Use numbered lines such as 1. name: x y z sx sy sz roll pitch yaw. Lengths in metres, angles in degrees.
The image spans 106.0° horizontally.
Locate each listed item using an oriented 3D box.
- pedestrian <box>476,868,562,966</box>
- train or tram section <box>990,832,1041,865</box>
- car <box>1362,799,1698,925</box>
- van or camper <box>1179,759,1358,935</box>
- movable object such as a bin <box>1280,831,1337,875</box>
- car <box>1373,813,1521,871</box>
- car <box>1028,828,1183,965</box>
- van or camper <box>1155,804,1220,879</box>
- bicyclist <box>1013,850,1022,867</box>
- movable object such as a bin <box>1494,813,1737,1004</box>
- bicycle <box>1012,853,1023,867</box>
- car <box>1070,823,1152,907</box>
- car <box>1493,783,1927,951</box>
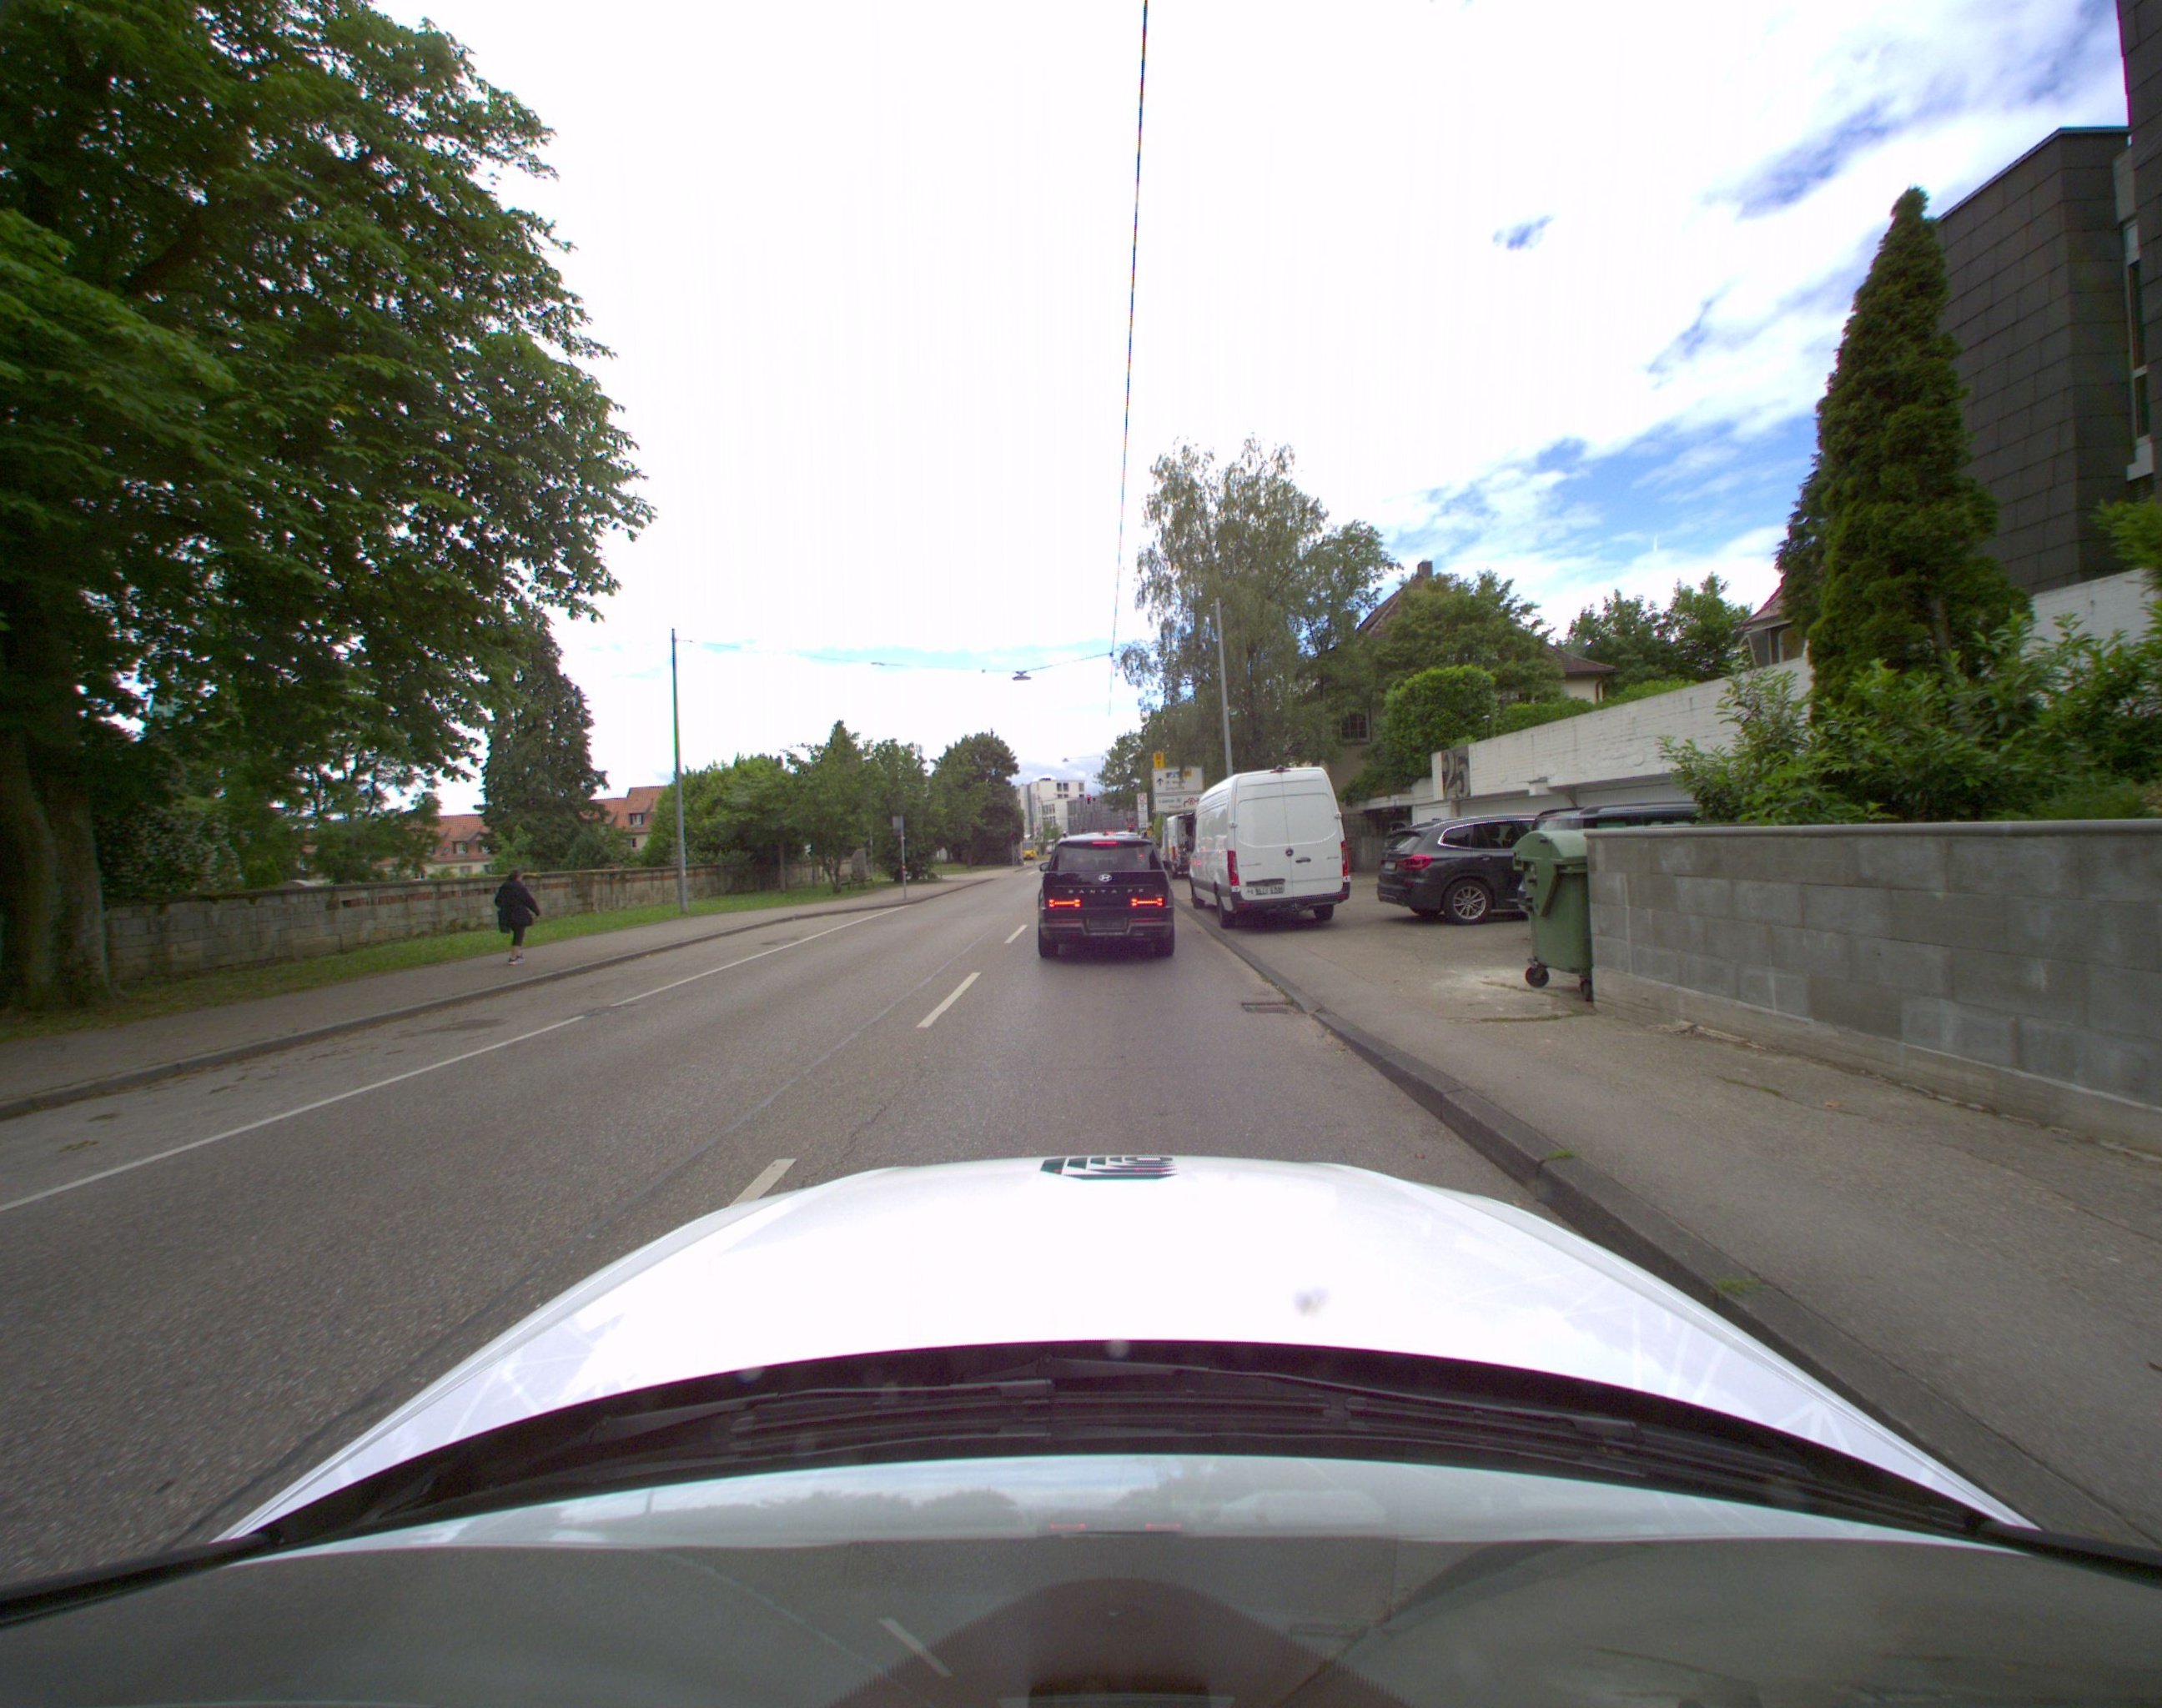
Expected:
1. pedestrian: -9.582 1.051 13.930 0.746 1.578 0.966 -2 0 0
2. train or tram section: -10.536 -0.692 127.890 3.203 4.523 18.560 -1 -1 -19
3. car: 7.100 0.117 13.238 4.376 1.652 1.831 -4 0 2
4. van or camper: 3.339 -0.142 16.055 1.957 2.627 6.360 -5 0 1
5. movable object such as a bin: 8.091 -0.052 29.006 1.447 1.473 1.715 -2 0 -4
6. car: 11.982 -0.399 26.825 3.975 1.711 1.969 -2 0 -1
7. car: 0.352 0.524 12.500 1.957 1.711 4.001 -2 1 1
8. van or camper: 4.451 -0.515 34.871 1.957 2.797 5.288 -5 0 1
9. bicyclist: -6.063 0.440 77.883 0.676 1.659 0.855 -1 -1 -12
10. movable object such as a bin: 4.608 0.437 7.160 1.295 1.450 1.181 -4 0 1
11. bicycle: -6.054 0.621 77.851 0.676 1.279 2.490 -1 -1 -12
12. car: 0.761 0.254 21.925 1.957 2.001 4.001 -2 0 1
13. car: 7.422 0.141 9.971 3.780 1.652 1.832 -3 1 5
